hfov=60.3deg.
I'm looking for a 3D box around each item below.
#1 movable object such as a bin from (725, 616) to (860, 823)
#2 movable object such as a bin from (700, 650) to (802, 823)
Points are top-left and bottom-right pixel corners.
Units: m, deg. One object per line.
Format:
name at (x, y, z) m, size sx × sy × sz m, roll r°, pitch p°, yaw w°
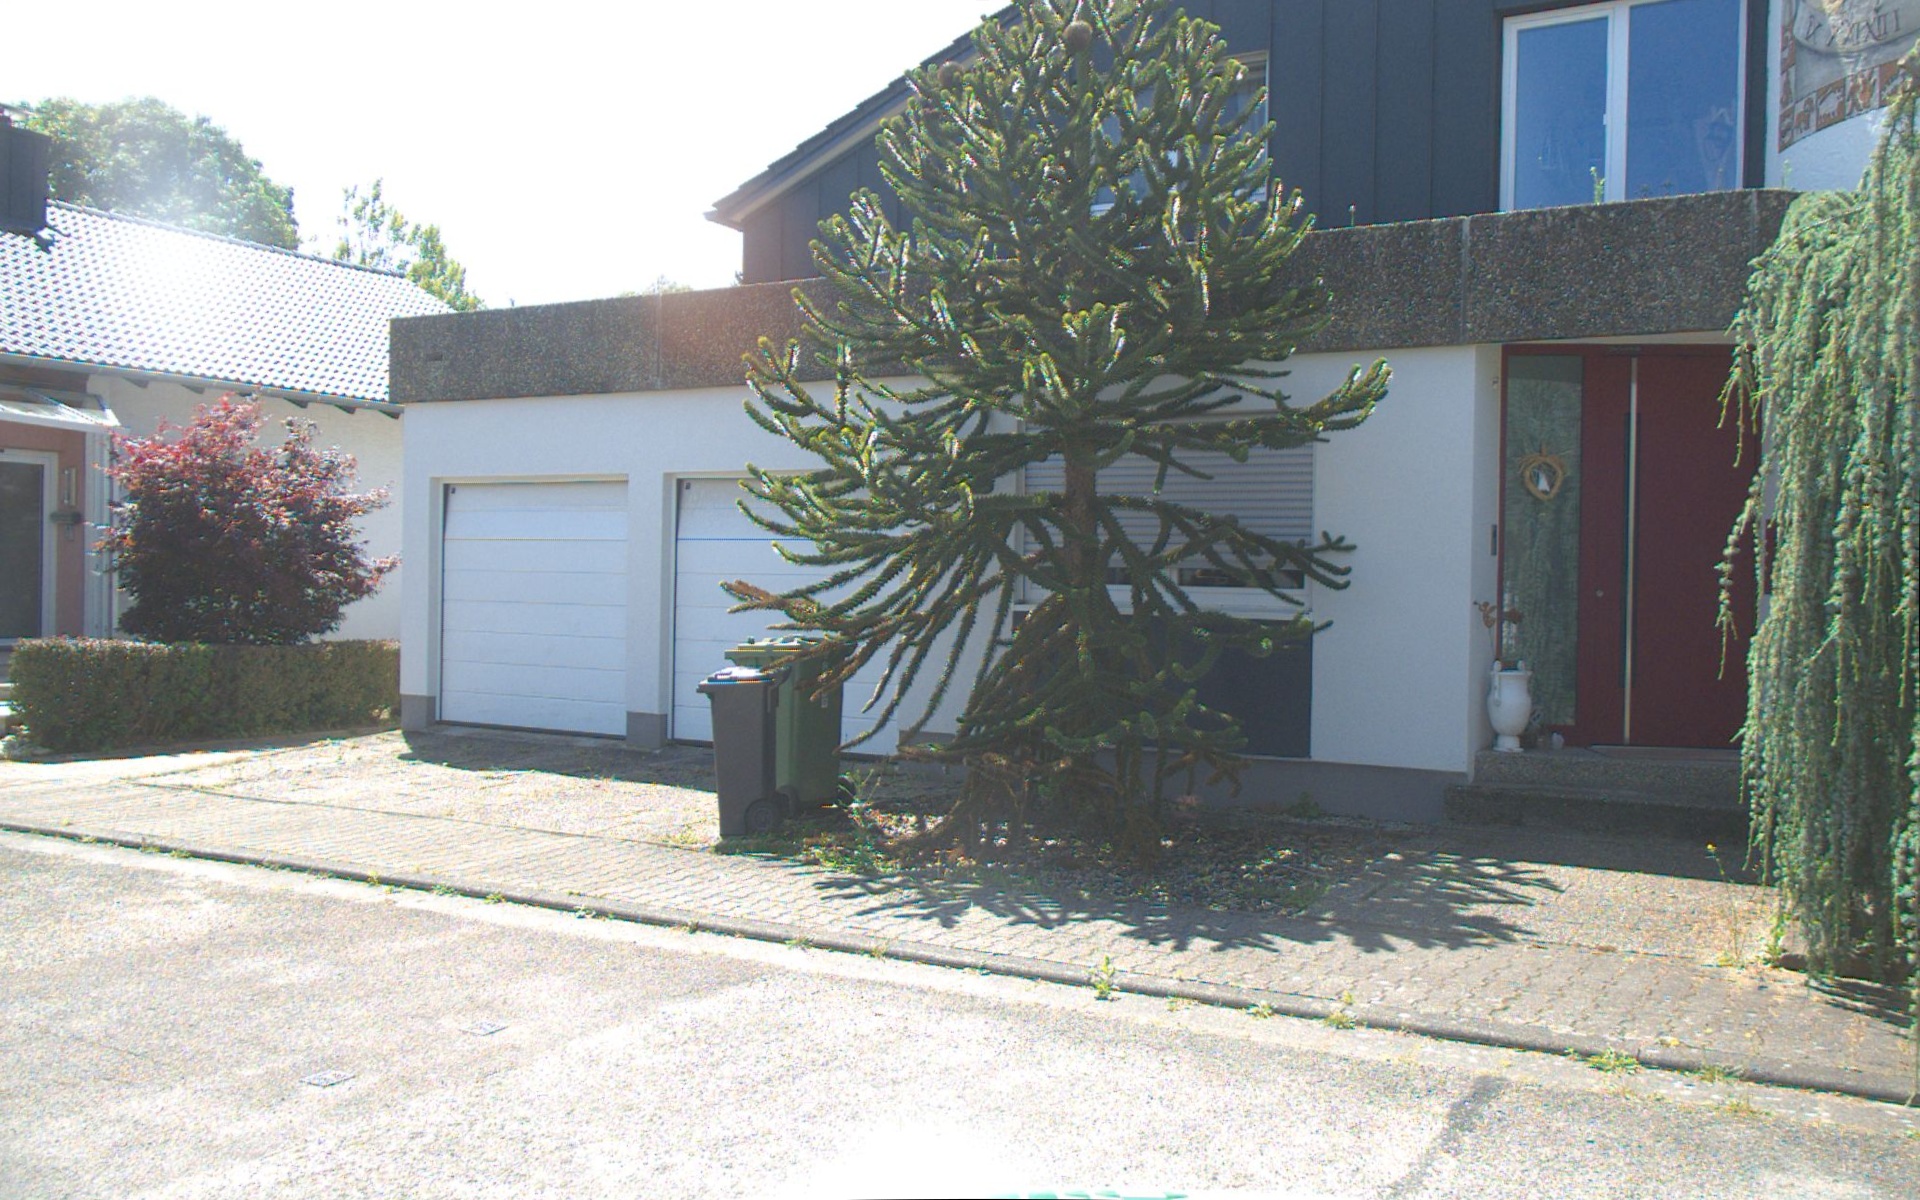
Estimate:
movable object such as a bin at (-1.045, 0.725, 10.352) m, size 0.620 × 1.224 × 0.550 m, roll 1°, pitch 0°, yaw 30°
movable object such as a bin at (-1.216, 0.786, 9.658) m, size 0.511 × 0.966 × 0.389 m, roll 1°, pitch 0°, yaw 3°
